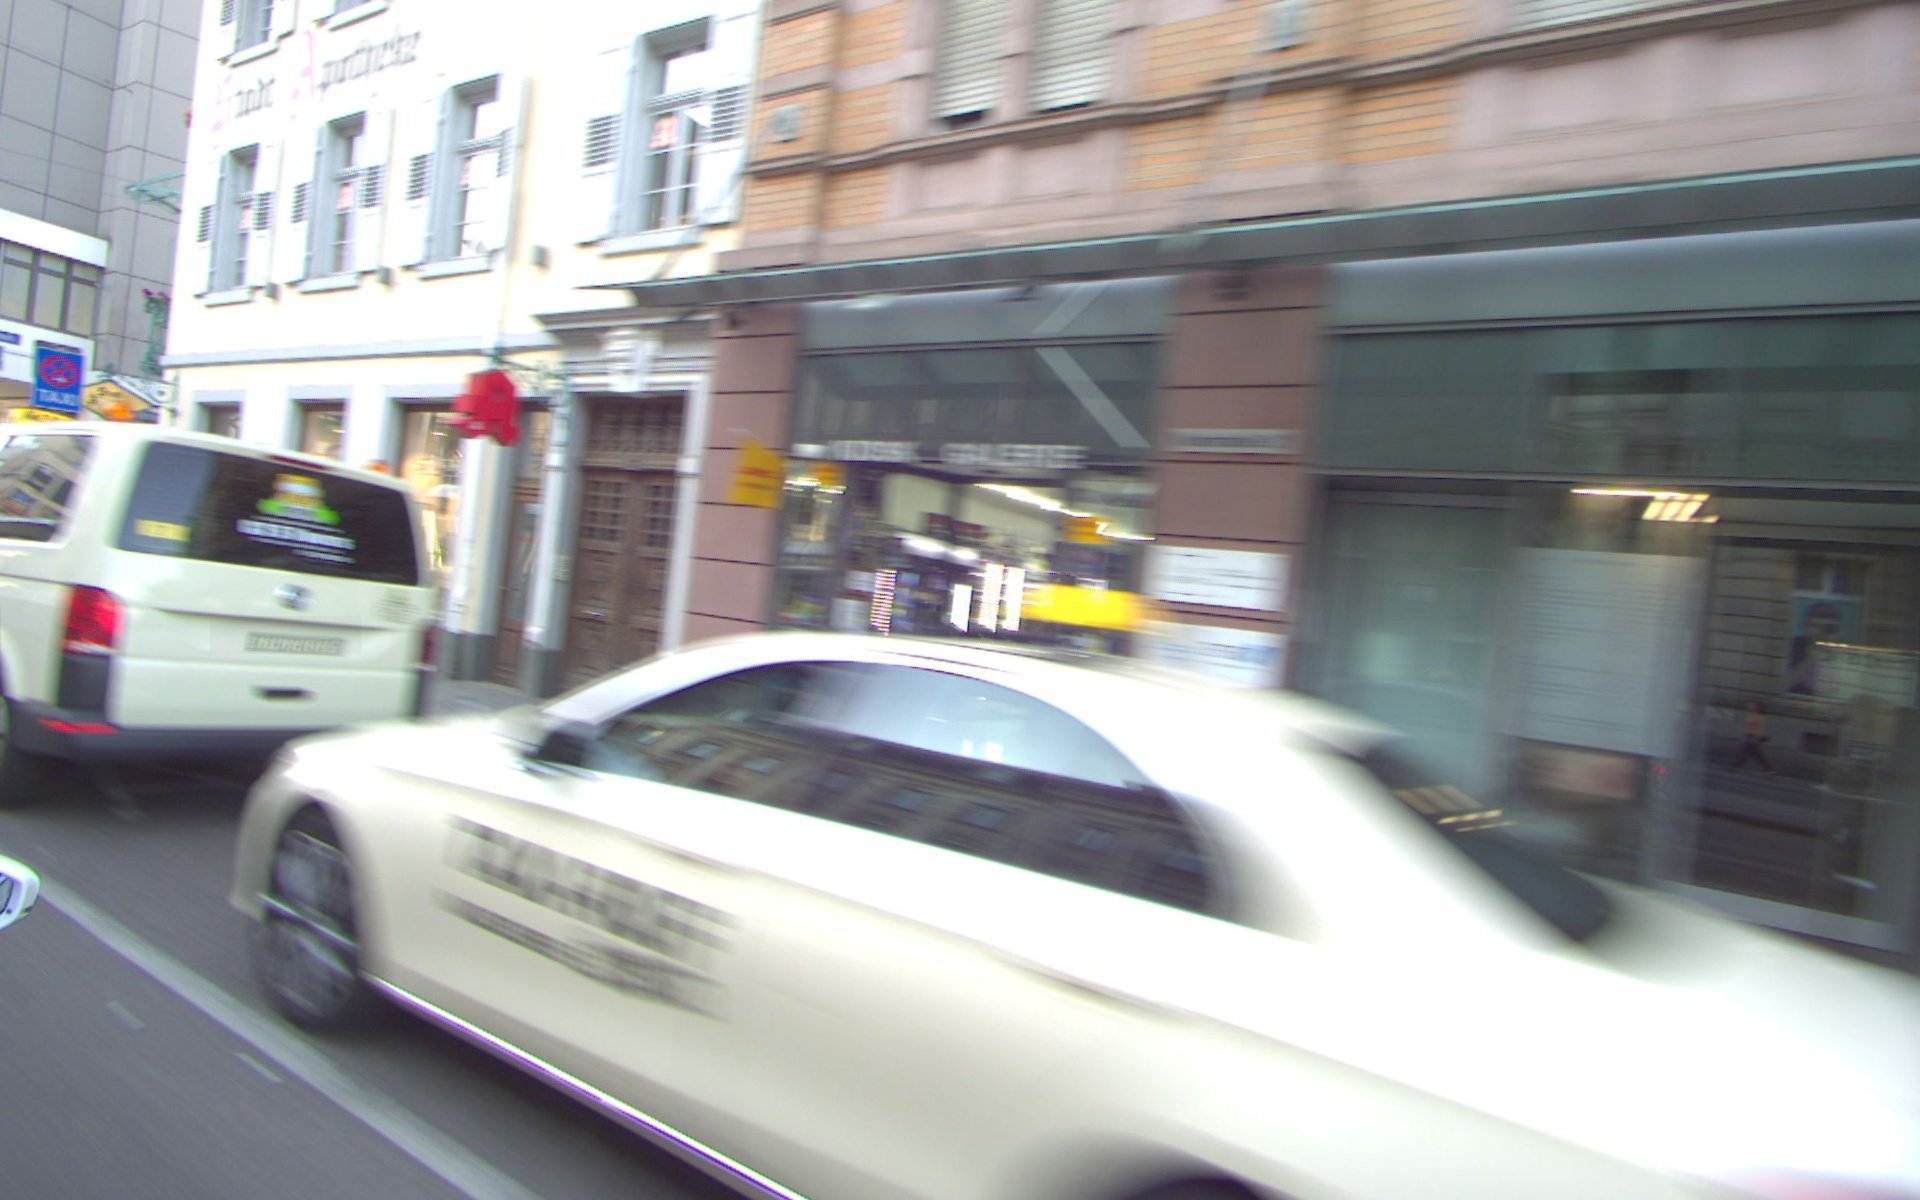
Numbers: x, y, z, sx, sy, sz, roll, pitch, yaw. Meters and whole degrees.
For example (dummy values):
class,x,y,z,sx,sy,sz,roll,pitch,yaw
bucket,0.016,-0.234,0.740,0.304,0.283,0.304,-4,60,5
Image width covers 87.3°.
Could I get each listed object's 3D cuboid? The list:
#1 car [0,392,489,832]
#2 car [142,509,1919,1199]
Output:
class,x,y,z,sx,sy,sz,roll,pitch,yaw
car,-5.395,-0.049,6.412,4.621,1.944,1.881,6,-3,31
car,-0.264,0.780,3.044,4.698,1.500,1.811,7,-3,31
